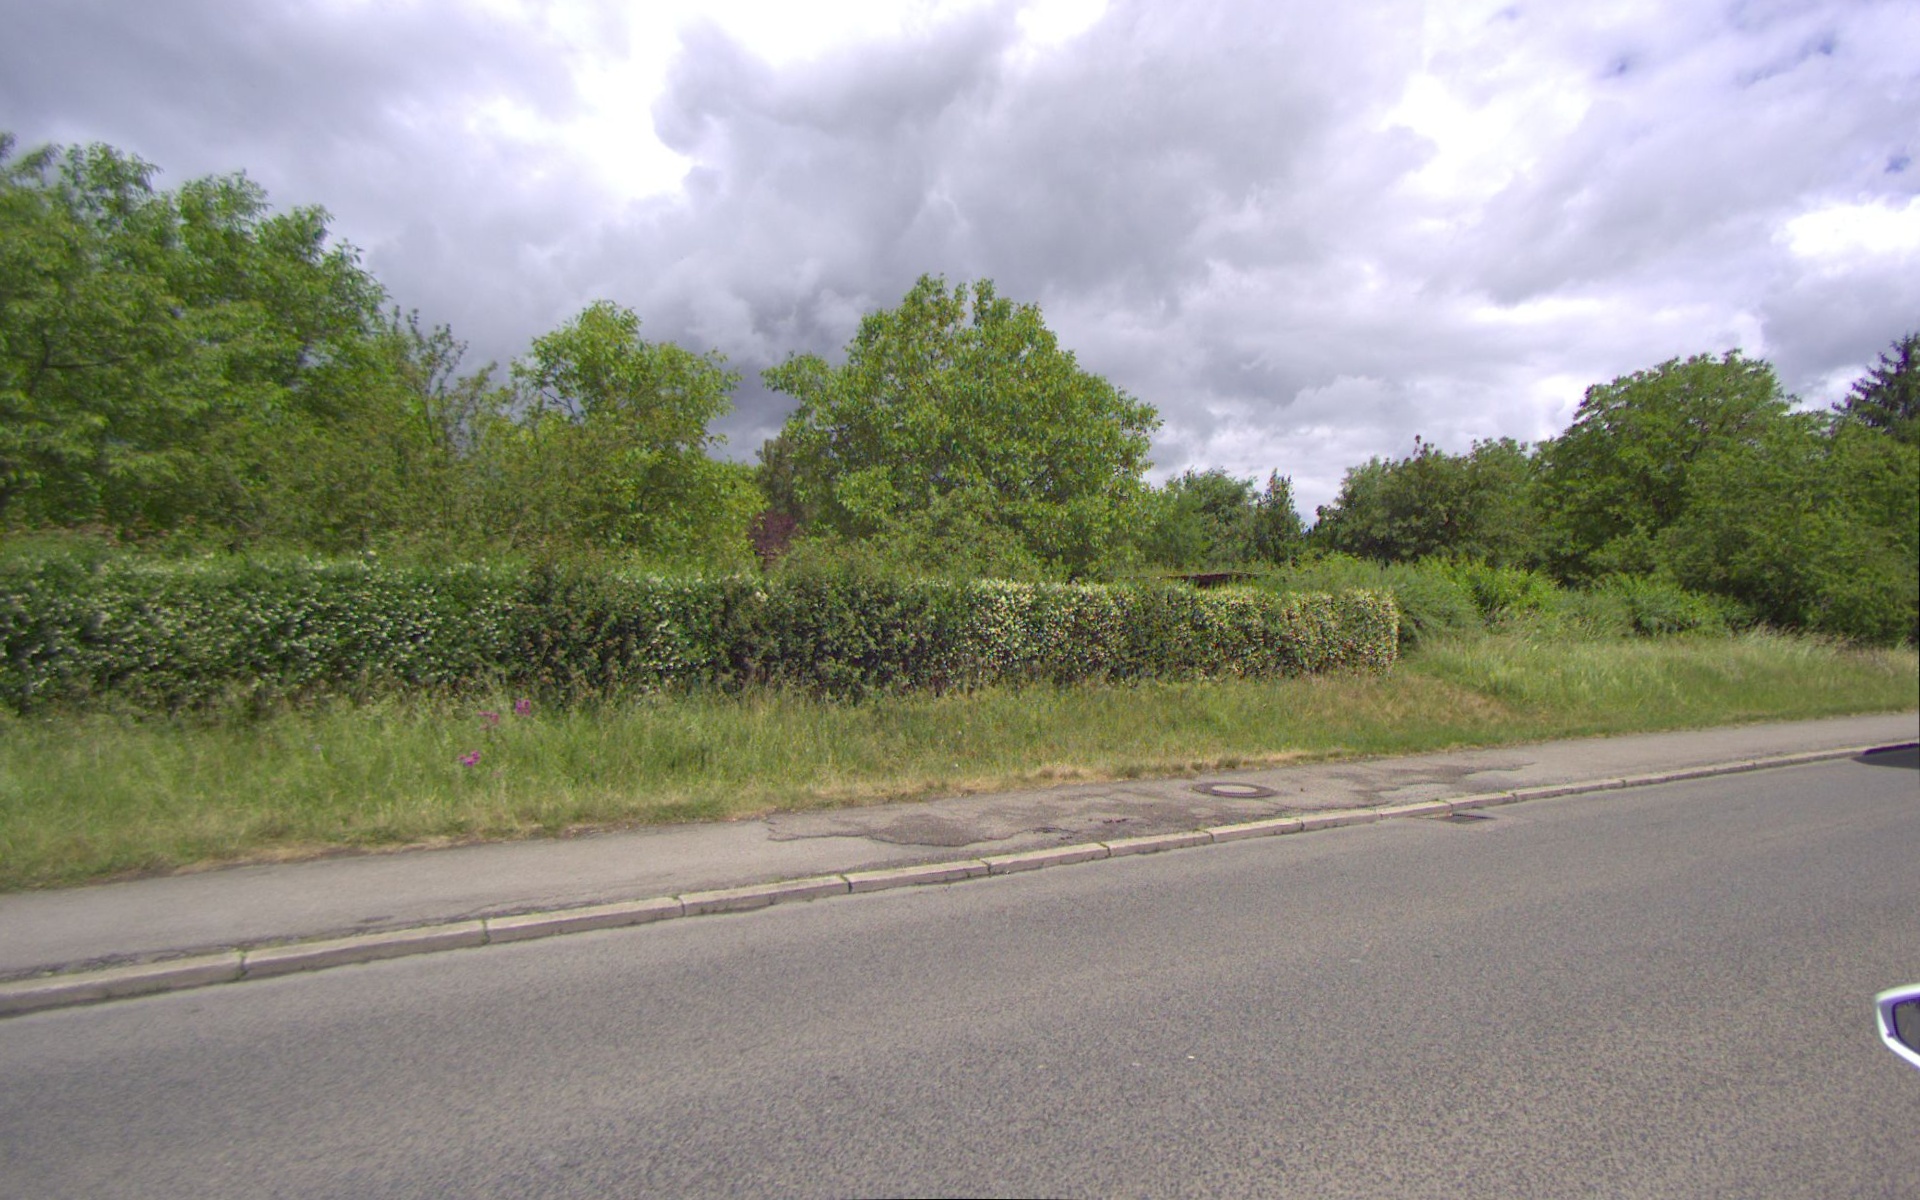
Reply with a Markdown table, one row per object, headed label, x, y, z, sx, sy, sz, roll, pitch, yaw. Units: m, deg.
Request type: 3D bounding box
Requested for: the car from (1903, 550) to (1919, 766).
| label | x | y | z | sx | sy | sz | roll | pitch | yaw |
| --- | --- | --- | --- | --- | --- | --- | --- | --- | --- |
| car | 13.951 | 0.689 | 12.481 | 4.670 | 2.583 | 1.960 | 1 | -4 | -31 |
